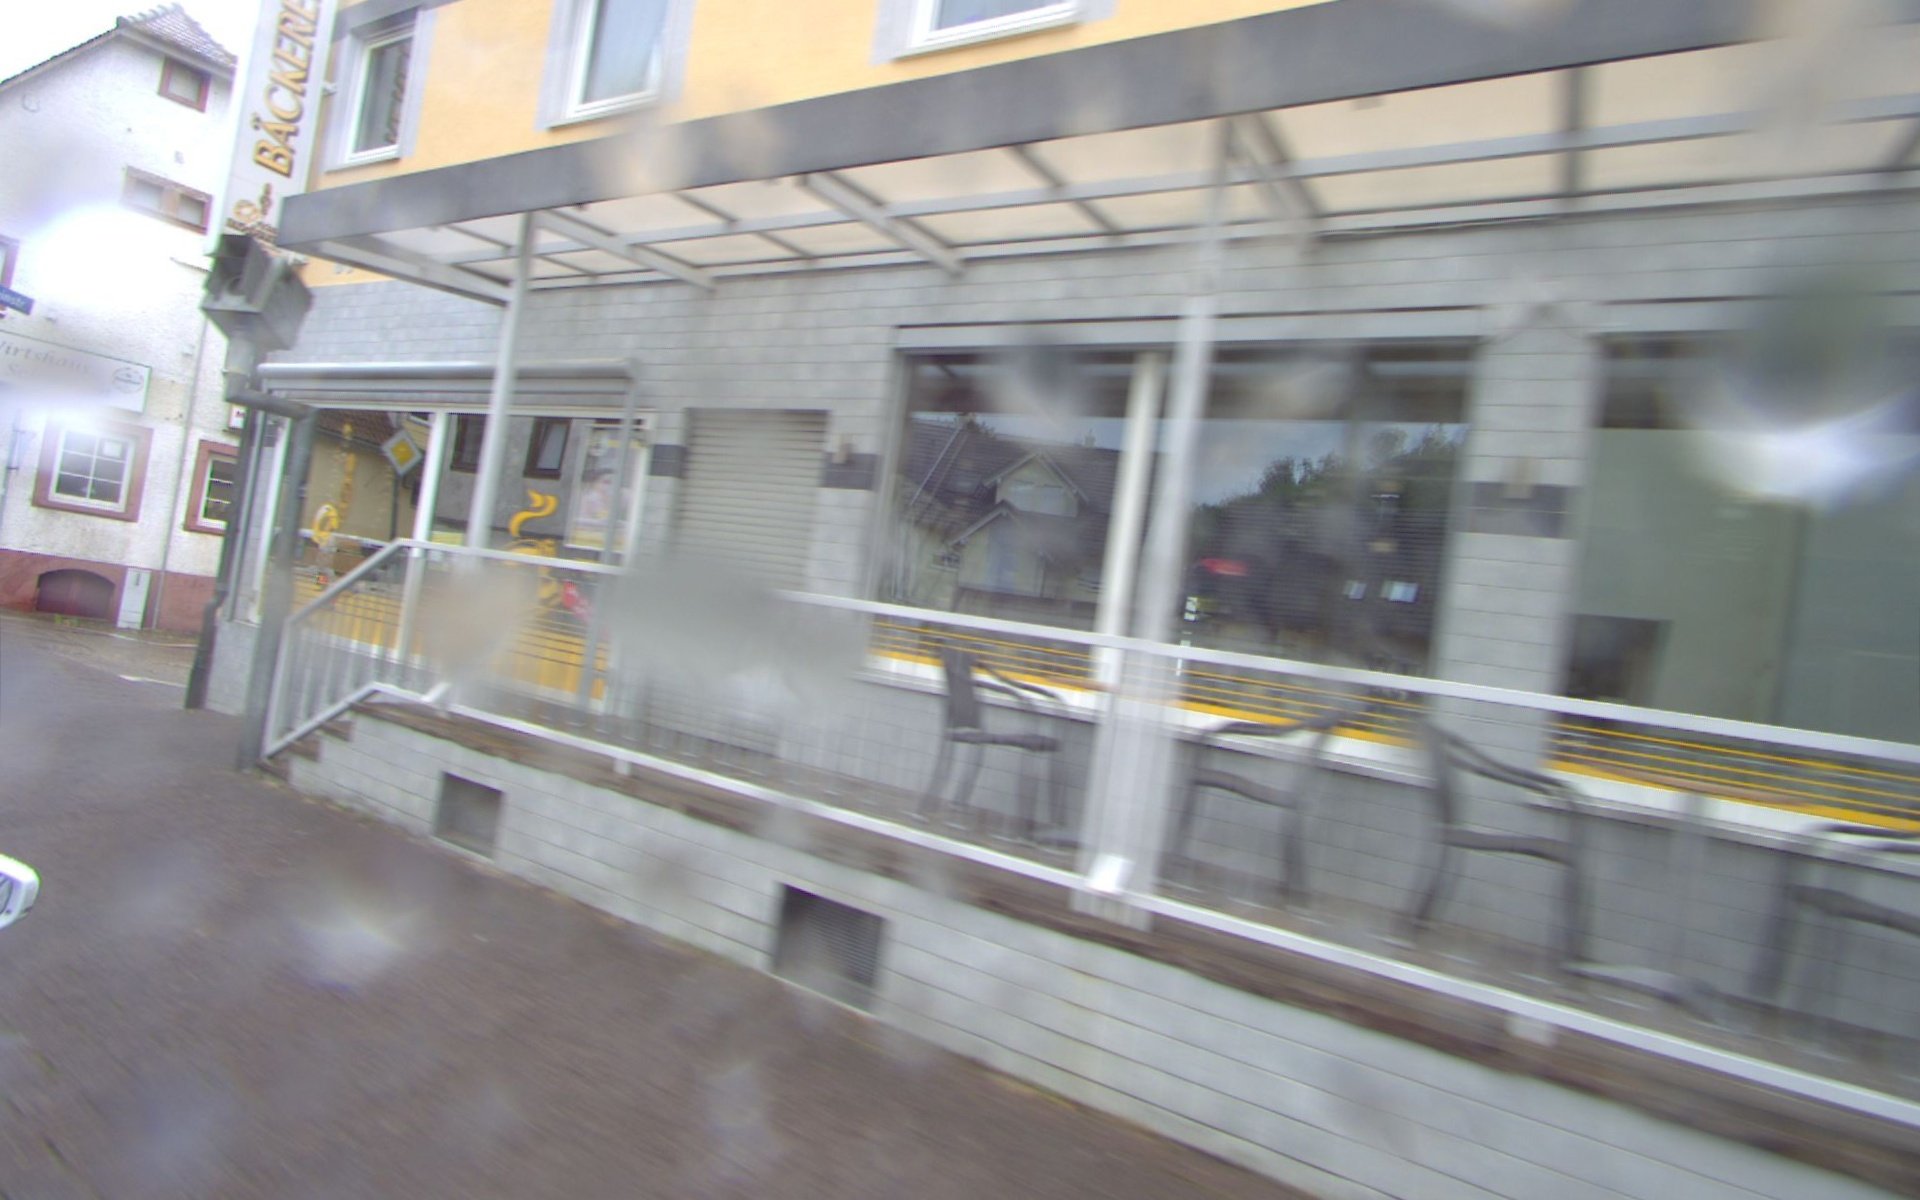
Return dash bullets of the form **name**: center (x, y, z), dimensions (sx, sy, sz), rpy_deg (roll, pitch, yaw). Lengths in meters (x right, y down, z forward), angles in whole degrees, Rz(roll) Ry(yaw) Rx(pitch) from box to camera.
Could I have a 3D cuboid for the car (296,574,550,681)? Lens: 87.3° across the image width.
- **car**: center (-10.387, 0.586, 19.687), dimensions (1.639, 1.387, 3.952), rpy_deg (7, -5, 41)
